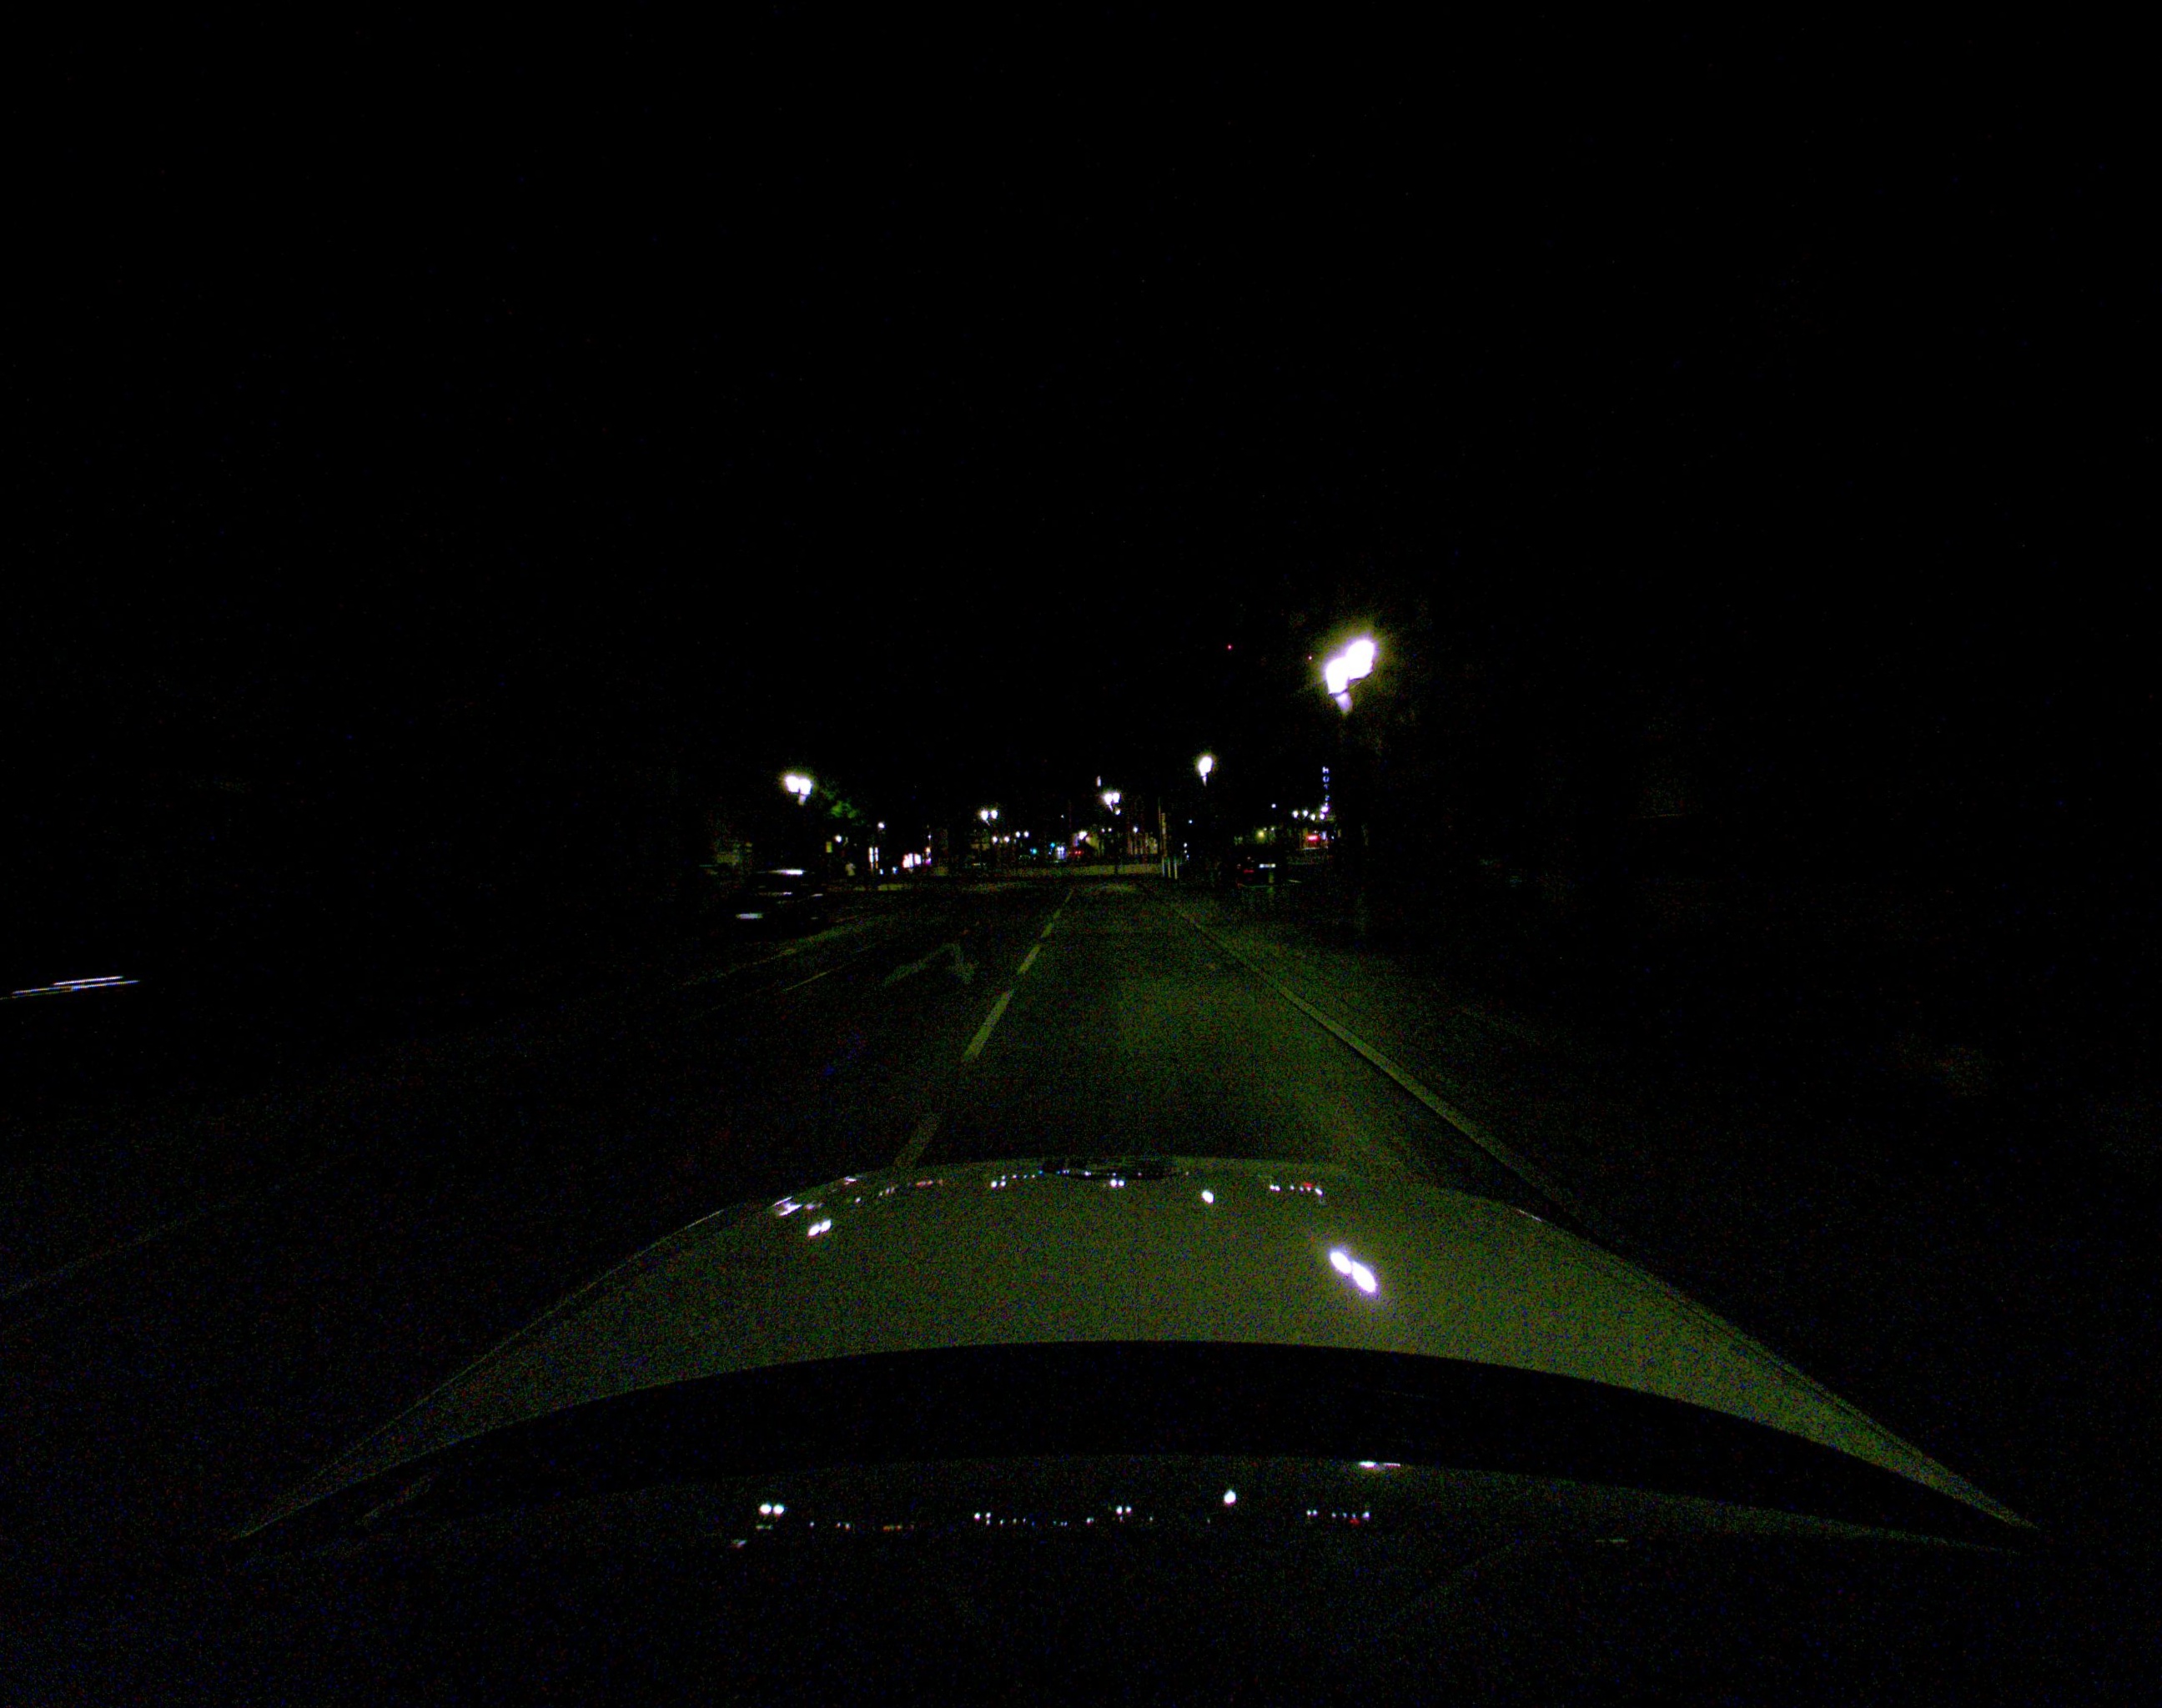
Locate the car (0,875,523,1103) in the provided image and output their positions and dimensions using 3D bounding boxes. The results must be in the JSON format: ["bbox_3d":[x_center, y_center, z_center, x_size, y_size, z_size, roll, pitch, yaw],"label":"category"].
[{"bbox_3d":[-8.220,1.087,8.365,1.777,1.582,4.414,-1,0,2],"label":"car"}]

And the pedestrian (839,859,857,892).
[{"bbox_3d":[-13.279,1.231,46.379,0.683,1.822,0.730,-3,-2,44],"label":"pedestrian"}]

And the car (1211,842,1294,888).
[{"bbox_3d":[6.111,0.367,29.551,1.730,1.459,4.722,-3,0,-3],"label":"car"}]

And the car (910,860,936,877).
[{"bbox_3d":[-15.947,1.442,82.406,1.989,1.574,4.323,-3,0,-3],"label":"car"}]

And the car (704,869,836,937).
[{"bbox_3d":[-7.812,1.170,20.918,1.779,1.415,4.125,-2,0,0],"label":"car"}]

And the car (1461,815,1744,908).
[{"bbox_3d":[10.267,0.137,16.338,4.404,1.459,1.792,-4,1,6],"label":"car"}]
